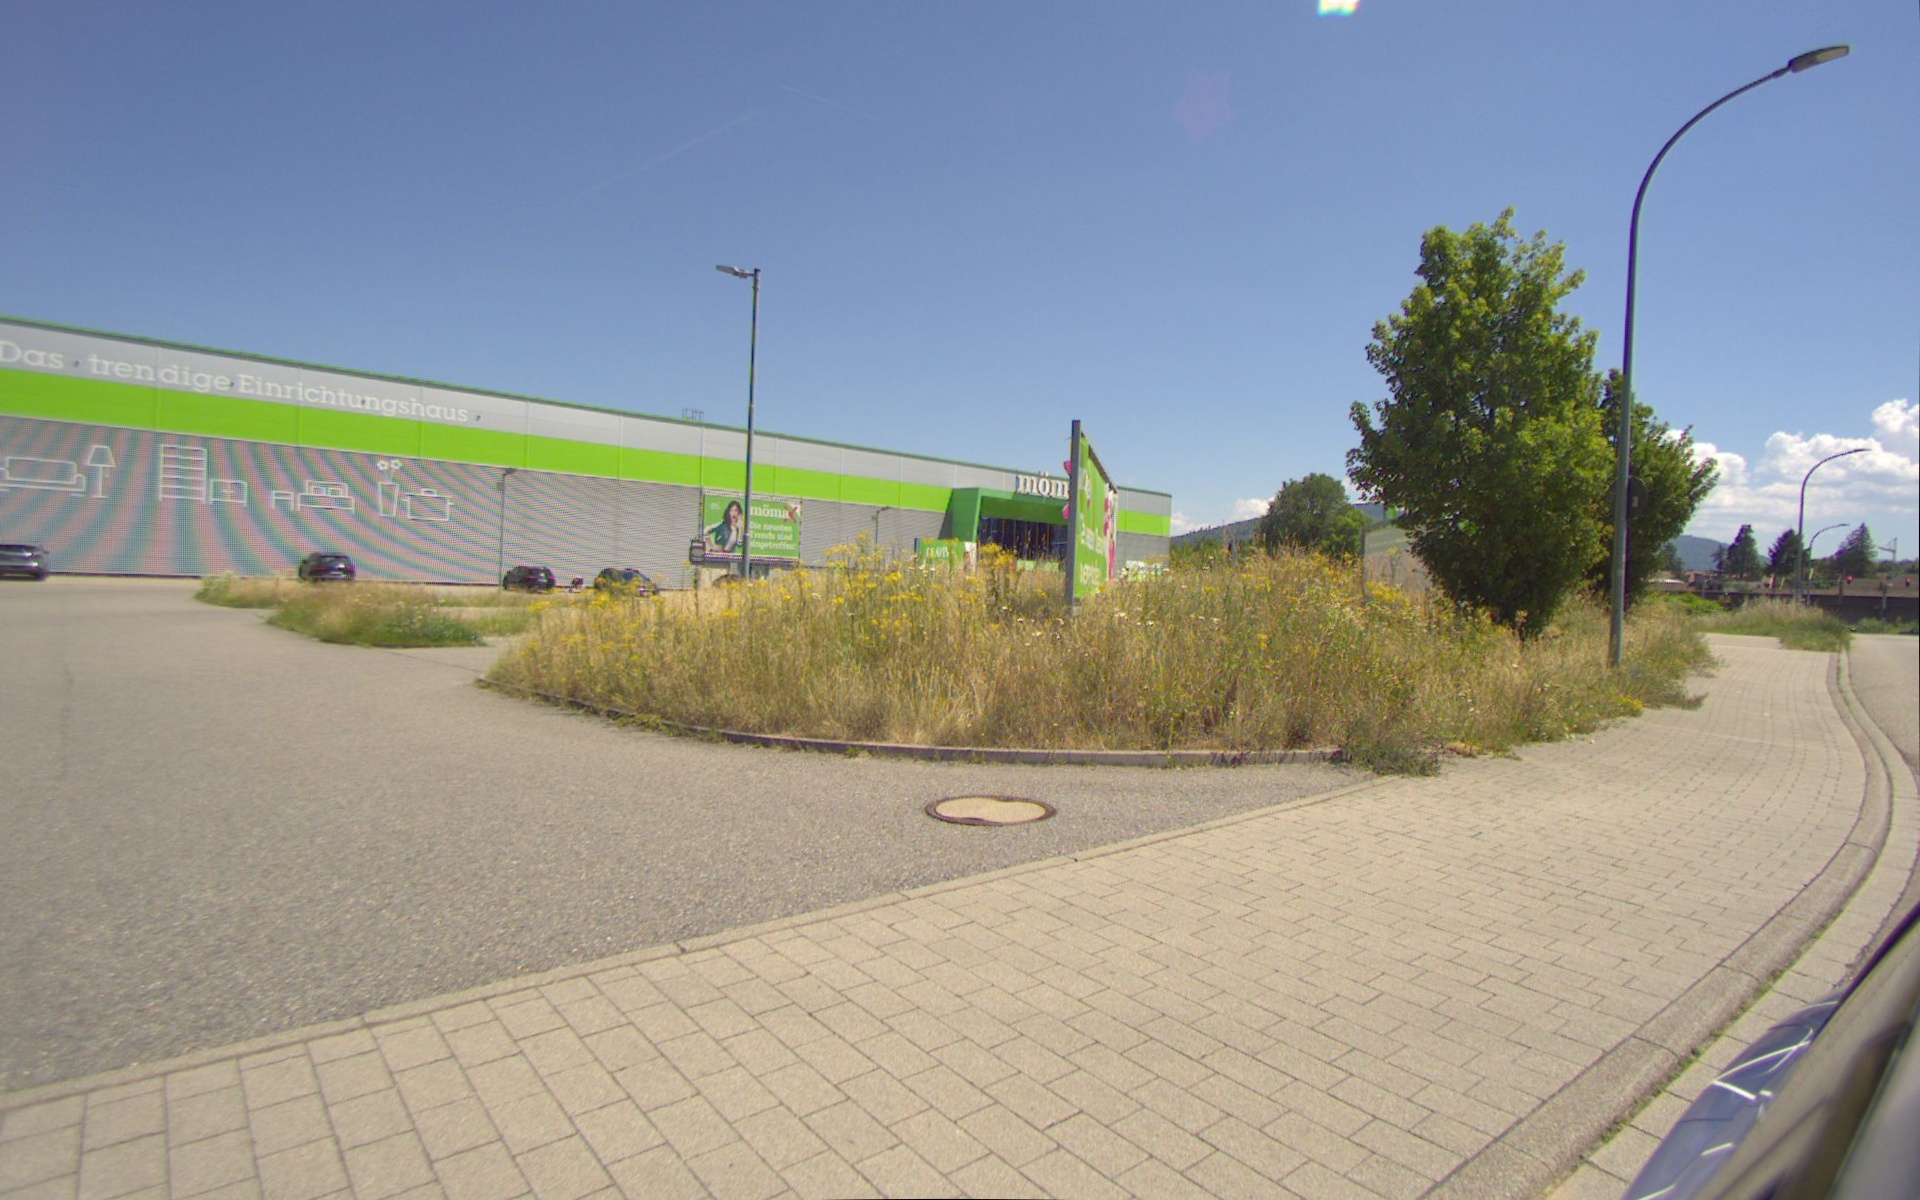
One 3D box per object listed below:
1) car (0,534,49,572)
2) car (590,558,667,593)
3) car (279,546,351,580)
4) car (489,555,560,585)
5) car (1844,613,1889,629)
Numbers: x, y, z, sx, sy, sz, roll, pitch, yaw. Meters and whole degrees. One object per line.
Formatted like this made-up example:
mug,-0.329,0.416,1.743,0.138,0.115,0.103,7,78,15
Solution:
car,-40.665,-2.046,43.451,3.987,1.537,1.969,4,3,43
car,-16.290,-1.245,49.602,1.966,1.537,4.415,-1,3,-42
car,-32.283,-1.878,50.597,4.652,1.537,1.969,4,3,43
car,-24.412,-1.681,56.640,4.652,1.537,1.969,4,3,43
car,109.217,2.483,121.954,1.818,1.558,3.740,-2,5,-41
